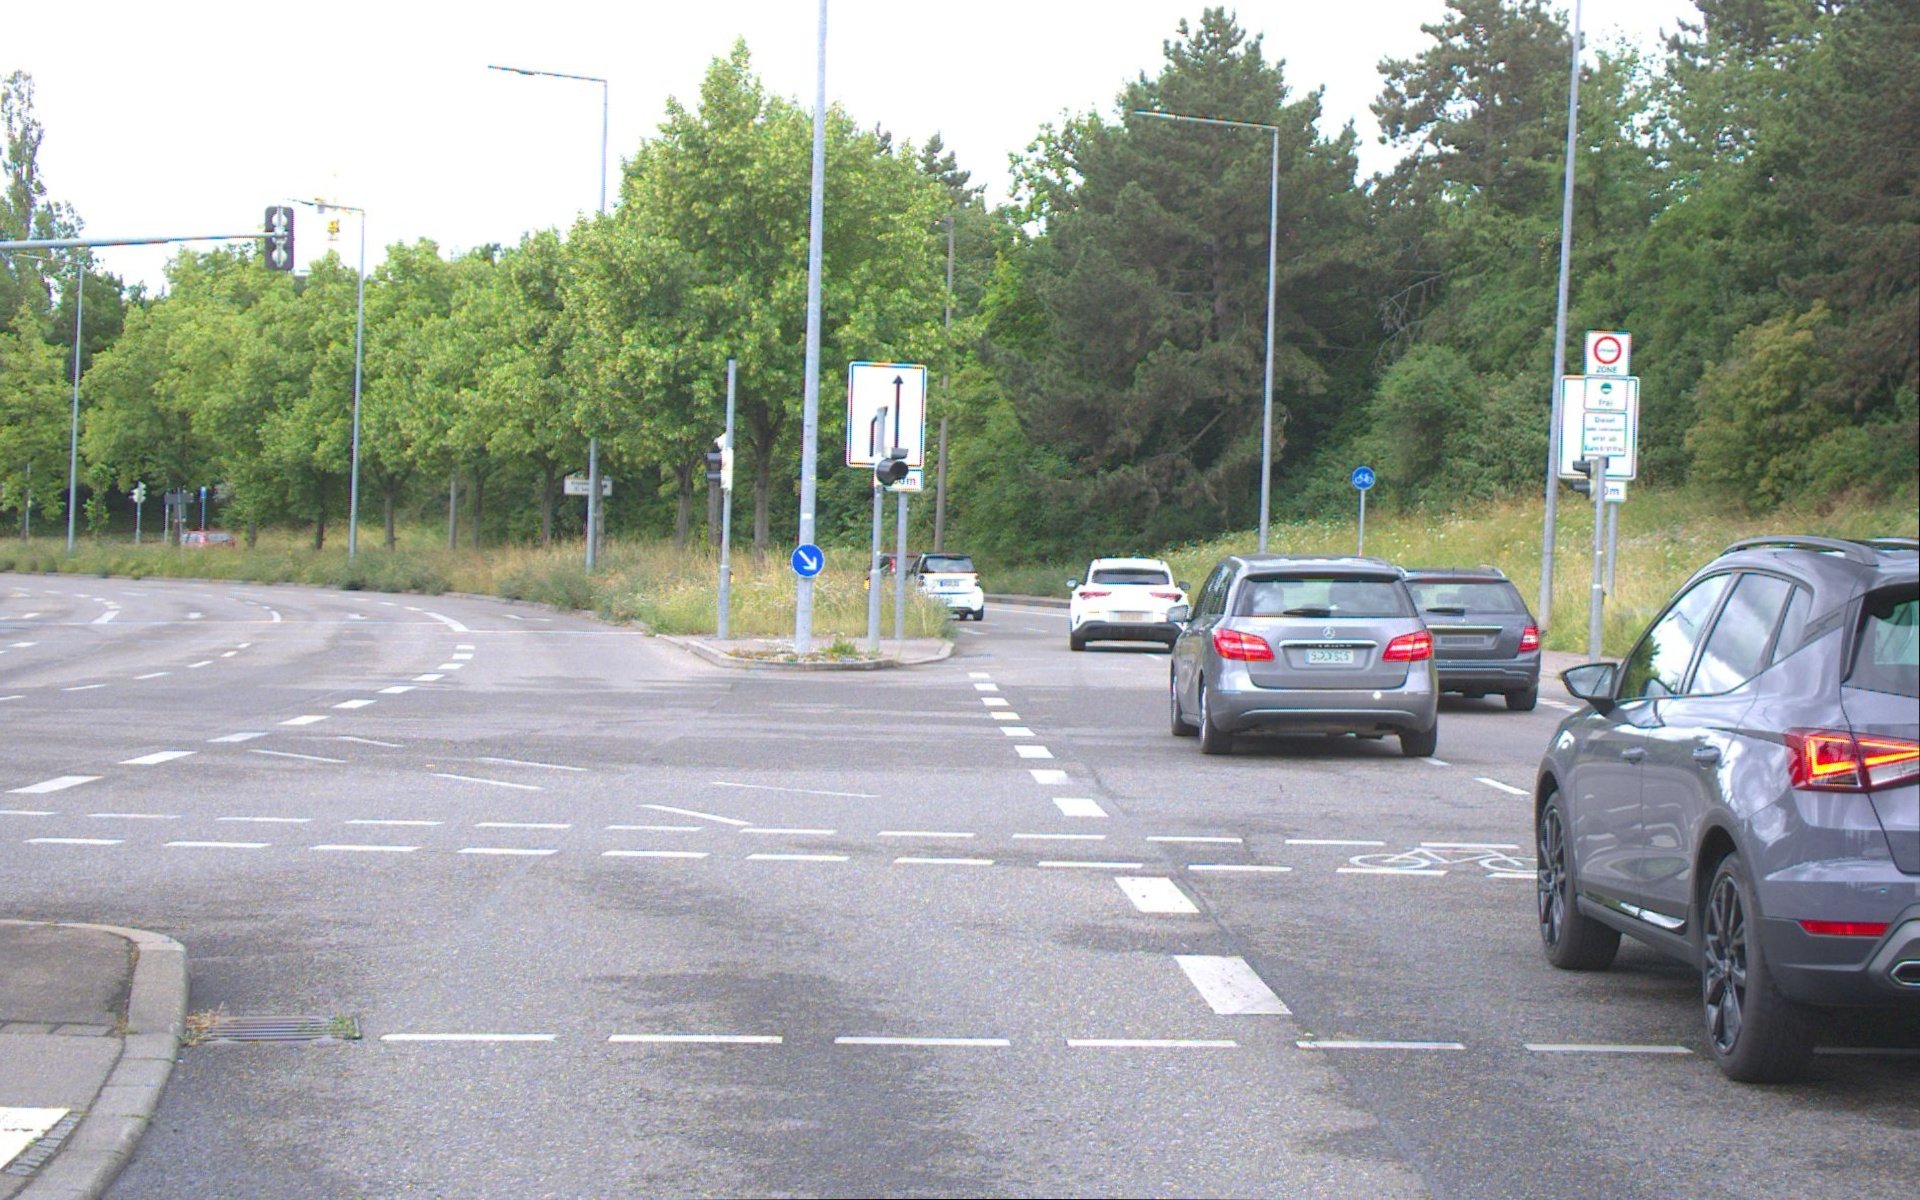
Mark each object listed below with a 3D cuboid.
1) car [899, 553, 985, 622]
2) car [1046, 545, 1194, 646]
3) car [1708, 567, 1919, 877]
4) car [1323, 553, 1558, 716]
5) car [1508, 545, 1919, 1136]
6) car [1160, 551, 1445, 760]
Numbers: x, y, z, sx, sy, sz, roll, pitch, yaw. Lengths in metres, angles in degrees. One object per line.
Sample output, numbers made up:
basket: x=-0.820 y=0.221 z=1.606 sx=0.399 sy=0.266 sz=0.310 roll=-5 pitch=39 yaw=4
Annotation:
car: x=-0.425 y=-0.297 z=78.412 sx=1.591 sy=1.511 sz=2.767 roll=1 pitch=0 yaw=-8
car: x=2.468 y=-0.093 z=54.053 sx=1.844 sy=1.501 sz=4.531 roll=1 pitch=0 yaw=-3
car: x=5.301 y=0.558 z=18.050 sx=1.746 sy=1.378 sz=4.291 roll=1 pitch=1 yaw=-1
car: x=4.888 y=0.307 z=35.522 sx=1.746 sy=1.480 sz=4.356 roll=1 pitch=2 yaw=-1
car: x=2.874 y=0.593 z=10.699 sx=1.624 sy=1.488 sz=3.838 roll=1 pitch=1 yaw=-1
car: x=2.631 y=0.377 z=27.241 sx=1.746 sy=1.503 sz=4.048 roll=1 pitch=1 yaw=-1
